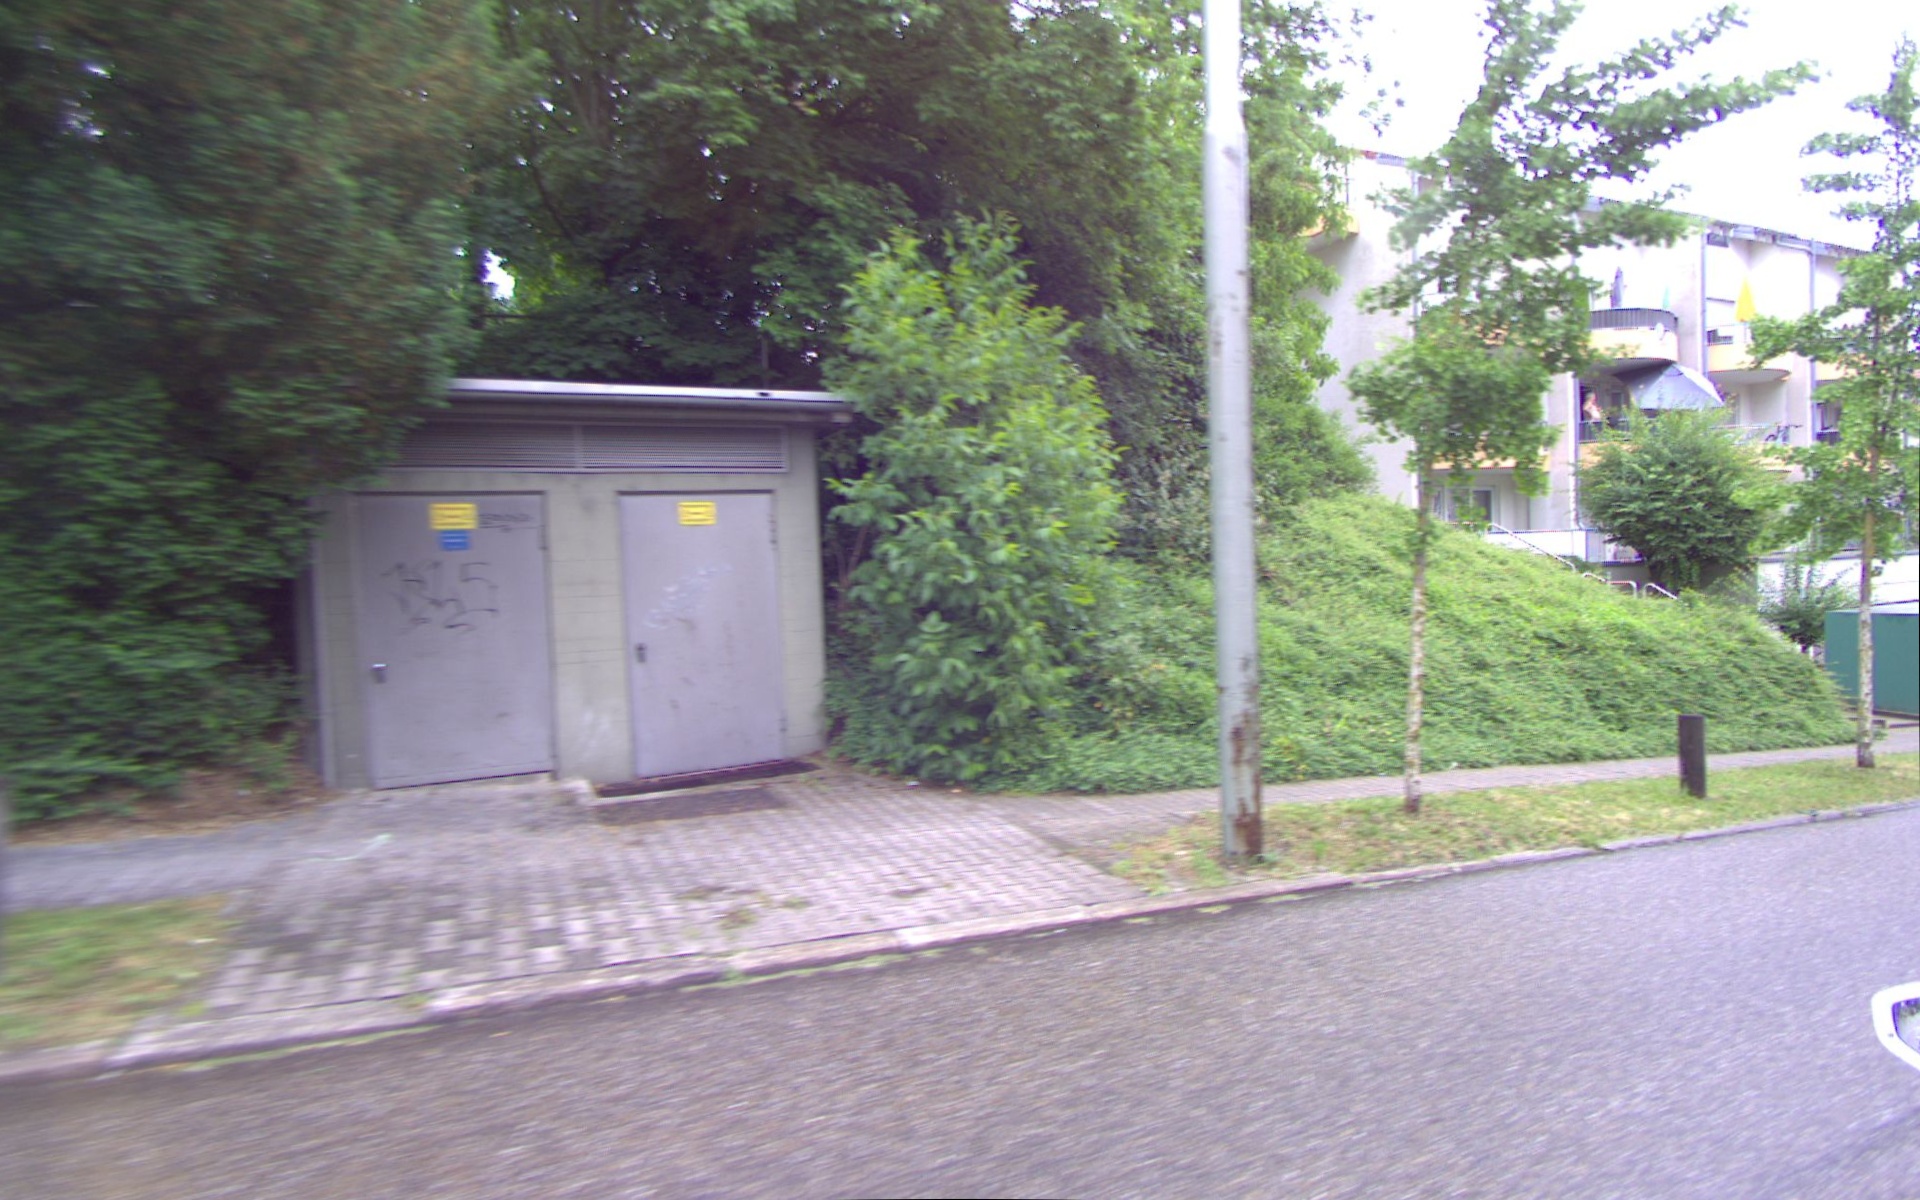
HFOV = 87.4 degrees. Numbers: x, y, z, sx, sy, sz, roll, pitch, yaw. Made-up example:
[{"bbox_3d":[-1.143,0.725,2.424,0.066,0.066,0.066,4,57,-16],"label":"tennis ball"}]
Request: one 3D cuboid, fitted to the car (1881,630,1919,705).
[{"bbox_3d":[20.656,1.323,20.349,3.835,1.475,1.735,1,-4,-28],"label":"car"}]
